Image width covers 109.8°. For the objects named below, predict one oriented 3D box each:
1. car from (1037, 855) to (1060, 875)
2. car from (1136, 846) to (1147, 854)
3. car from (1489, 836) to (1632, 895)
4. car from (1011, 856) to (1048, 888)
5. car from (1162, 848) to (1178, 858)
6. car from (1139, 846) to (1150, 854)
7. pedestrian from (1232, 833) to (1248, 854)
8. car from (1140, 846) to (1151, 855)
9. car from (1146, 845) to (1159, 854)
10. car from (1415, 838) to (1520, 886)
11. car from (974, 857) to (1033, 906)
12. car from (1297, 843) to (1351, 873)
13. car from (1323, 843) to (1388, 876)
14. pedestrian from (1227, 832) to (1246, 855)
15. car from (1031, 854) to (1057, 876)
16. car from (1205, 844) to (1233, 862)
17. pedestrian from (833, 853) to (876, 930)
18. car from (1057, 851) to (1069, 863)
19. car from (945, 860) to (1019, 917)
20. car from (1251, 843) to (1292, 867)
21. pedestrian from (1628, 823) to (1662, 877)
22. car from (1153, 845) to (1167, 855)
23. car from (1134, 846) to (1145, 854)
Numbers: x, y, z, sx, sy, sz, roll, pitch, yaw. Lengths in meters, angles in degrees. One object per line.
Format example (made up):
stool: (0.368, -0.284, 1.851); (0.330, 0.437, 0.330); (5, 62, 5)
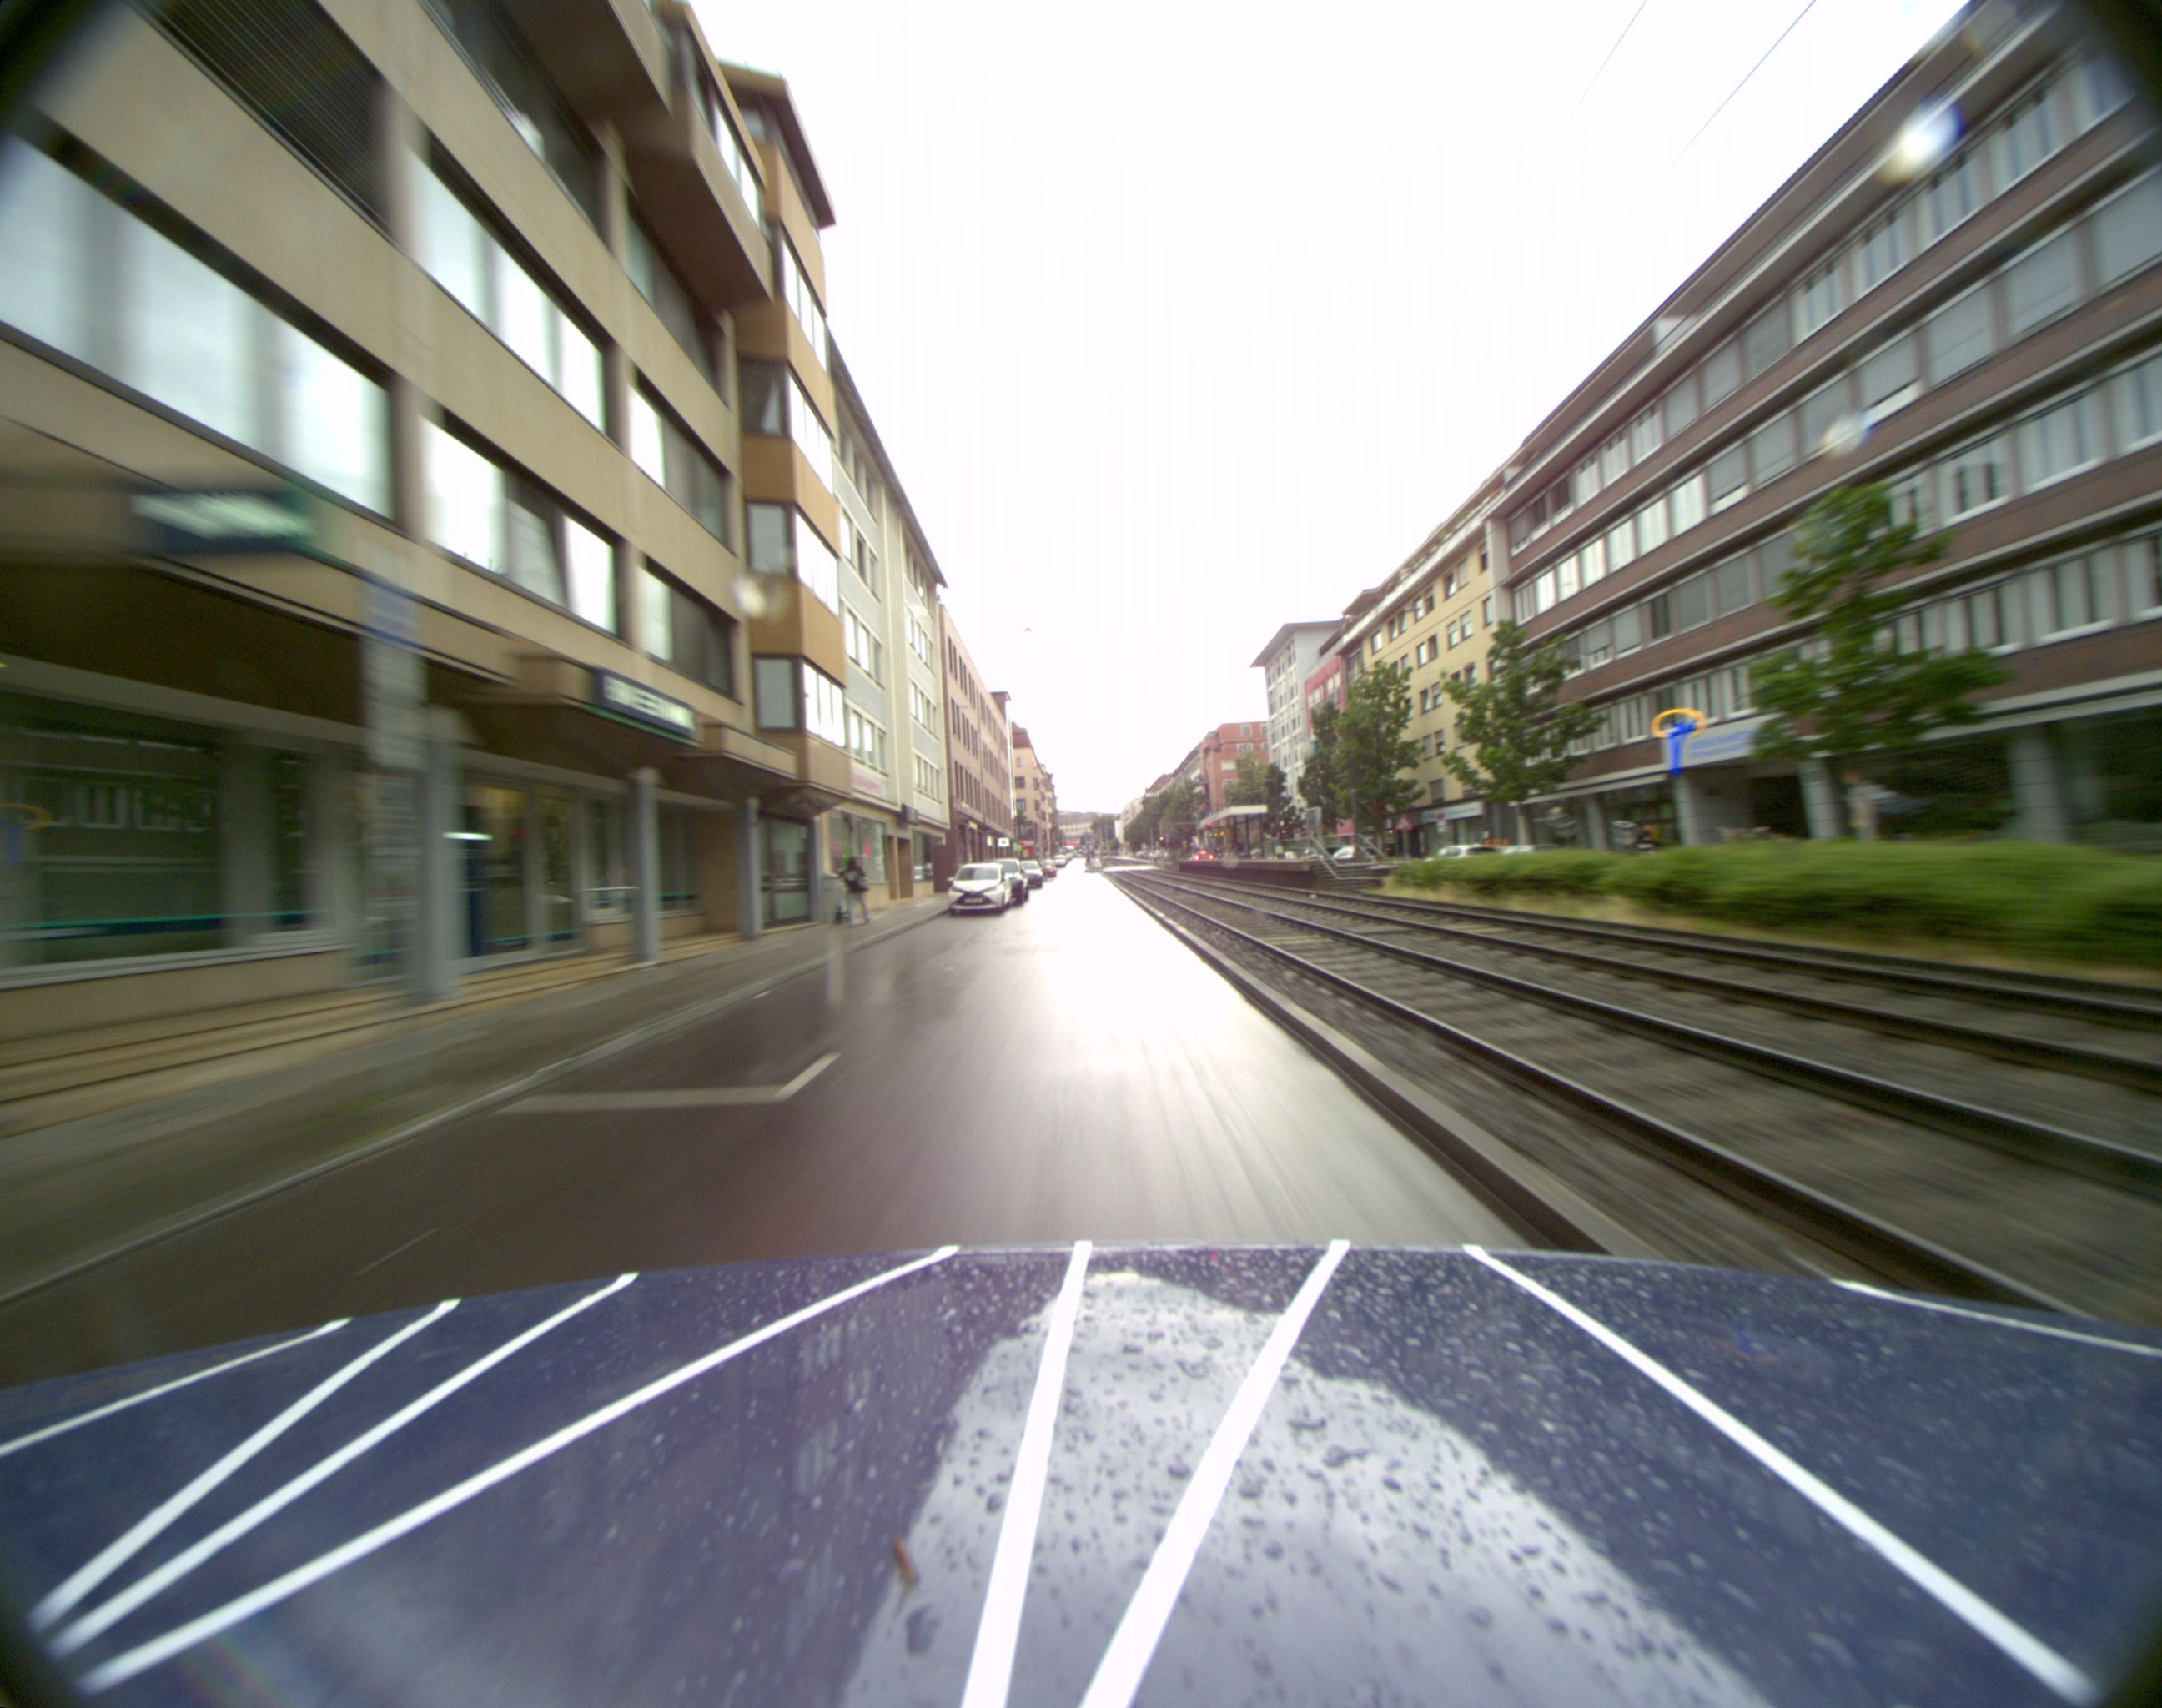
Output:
car: (-2.755, 0.903, 65.380); (1.653, 1.583, 4.067); (-2, 0, 1)
car: (13.685, -0.942, 172.026); (1.999, 1.779, 3.999); (-2, 0, -1)
car: (15.231, 0.328, 24.440); (1.999, 1.652, 3.999); (-2, 0, -1)
car: (-2.791, 0.954, 42.016); (1.653, 1.583, 4.067); (-2, 0, 1)
car: (14.691, -0.170, 125.825); (1.999, 1.652, 3.999); (-2, 0, -1)
car: (13.856, -0.906, 166.227); (1.999, 1.779, 3.999); (-2, 0, -1)
pedestrian: (9.696, -0.611, 46.333); (0.815, 1.248, 0.637); (-2, 1, -2)
car: (13.681, -0.799, 160.990); (1.999, 1.779, 4.163); (-2, 0, -1)
car: (13.866, -0.802, 147.078); (1.999, 1.652, 3.999); (-2, 0, -1)
car: (15.042, 0.293, 29.821); (1.999, 1.652, 3.999); (-2, 0, -1)
car: (-2.767, 0.933, 27.923); (1.653, 1.583, 4.067); (-2, 0, 1)
car: (14.980, 0.234, 47.064); (1.999, 1.652, 3.999); (-2, 0, -1)
car: (14.985, 0.272, 41.659); (1.999, 1.652, 3.999); (-2, 0, -1)
pedestrian: (9.641, -0.663, 47.024); (0.958, 1.377, 0.637); (-2, 1, -2)
car: (-2.745, 0.815, 57.487); (1.653, 1.583, 4.067); (-2, 0, 1)
car: (13.933, -0.101, 77.013); (1.999, 1.652, 3.999); (-2, 0, -1)
pedestrian: (-5.179, 0.845, 17.402); (0.640, 1.690, 0.883); (-2, 1, 1)
car: (-2.685, 0.448, 113.813); (1.653, 1.583, 4.067); (-2, 0, 1)
car: (-2.974, 0.997, 23.607); (1.653, 1.489, 4.067); (-2, 0, 1)
car: (14.476, 0.054, 58.000); (1.999, 1.652, 3.999); (-2, 0, -1)
pedestrian: (19.711, -0.145, 26.559); (0.576, 1.858, 0.743); (-2, 1, 1)
car: (14.231, -0.739, 137.342); (1.999, 1.652, 3.999); (-2, 0, -1)
car: (13.664, -0.988, 177.970); (1.999, 1.779, 3.999); (-2, 0, -1)
